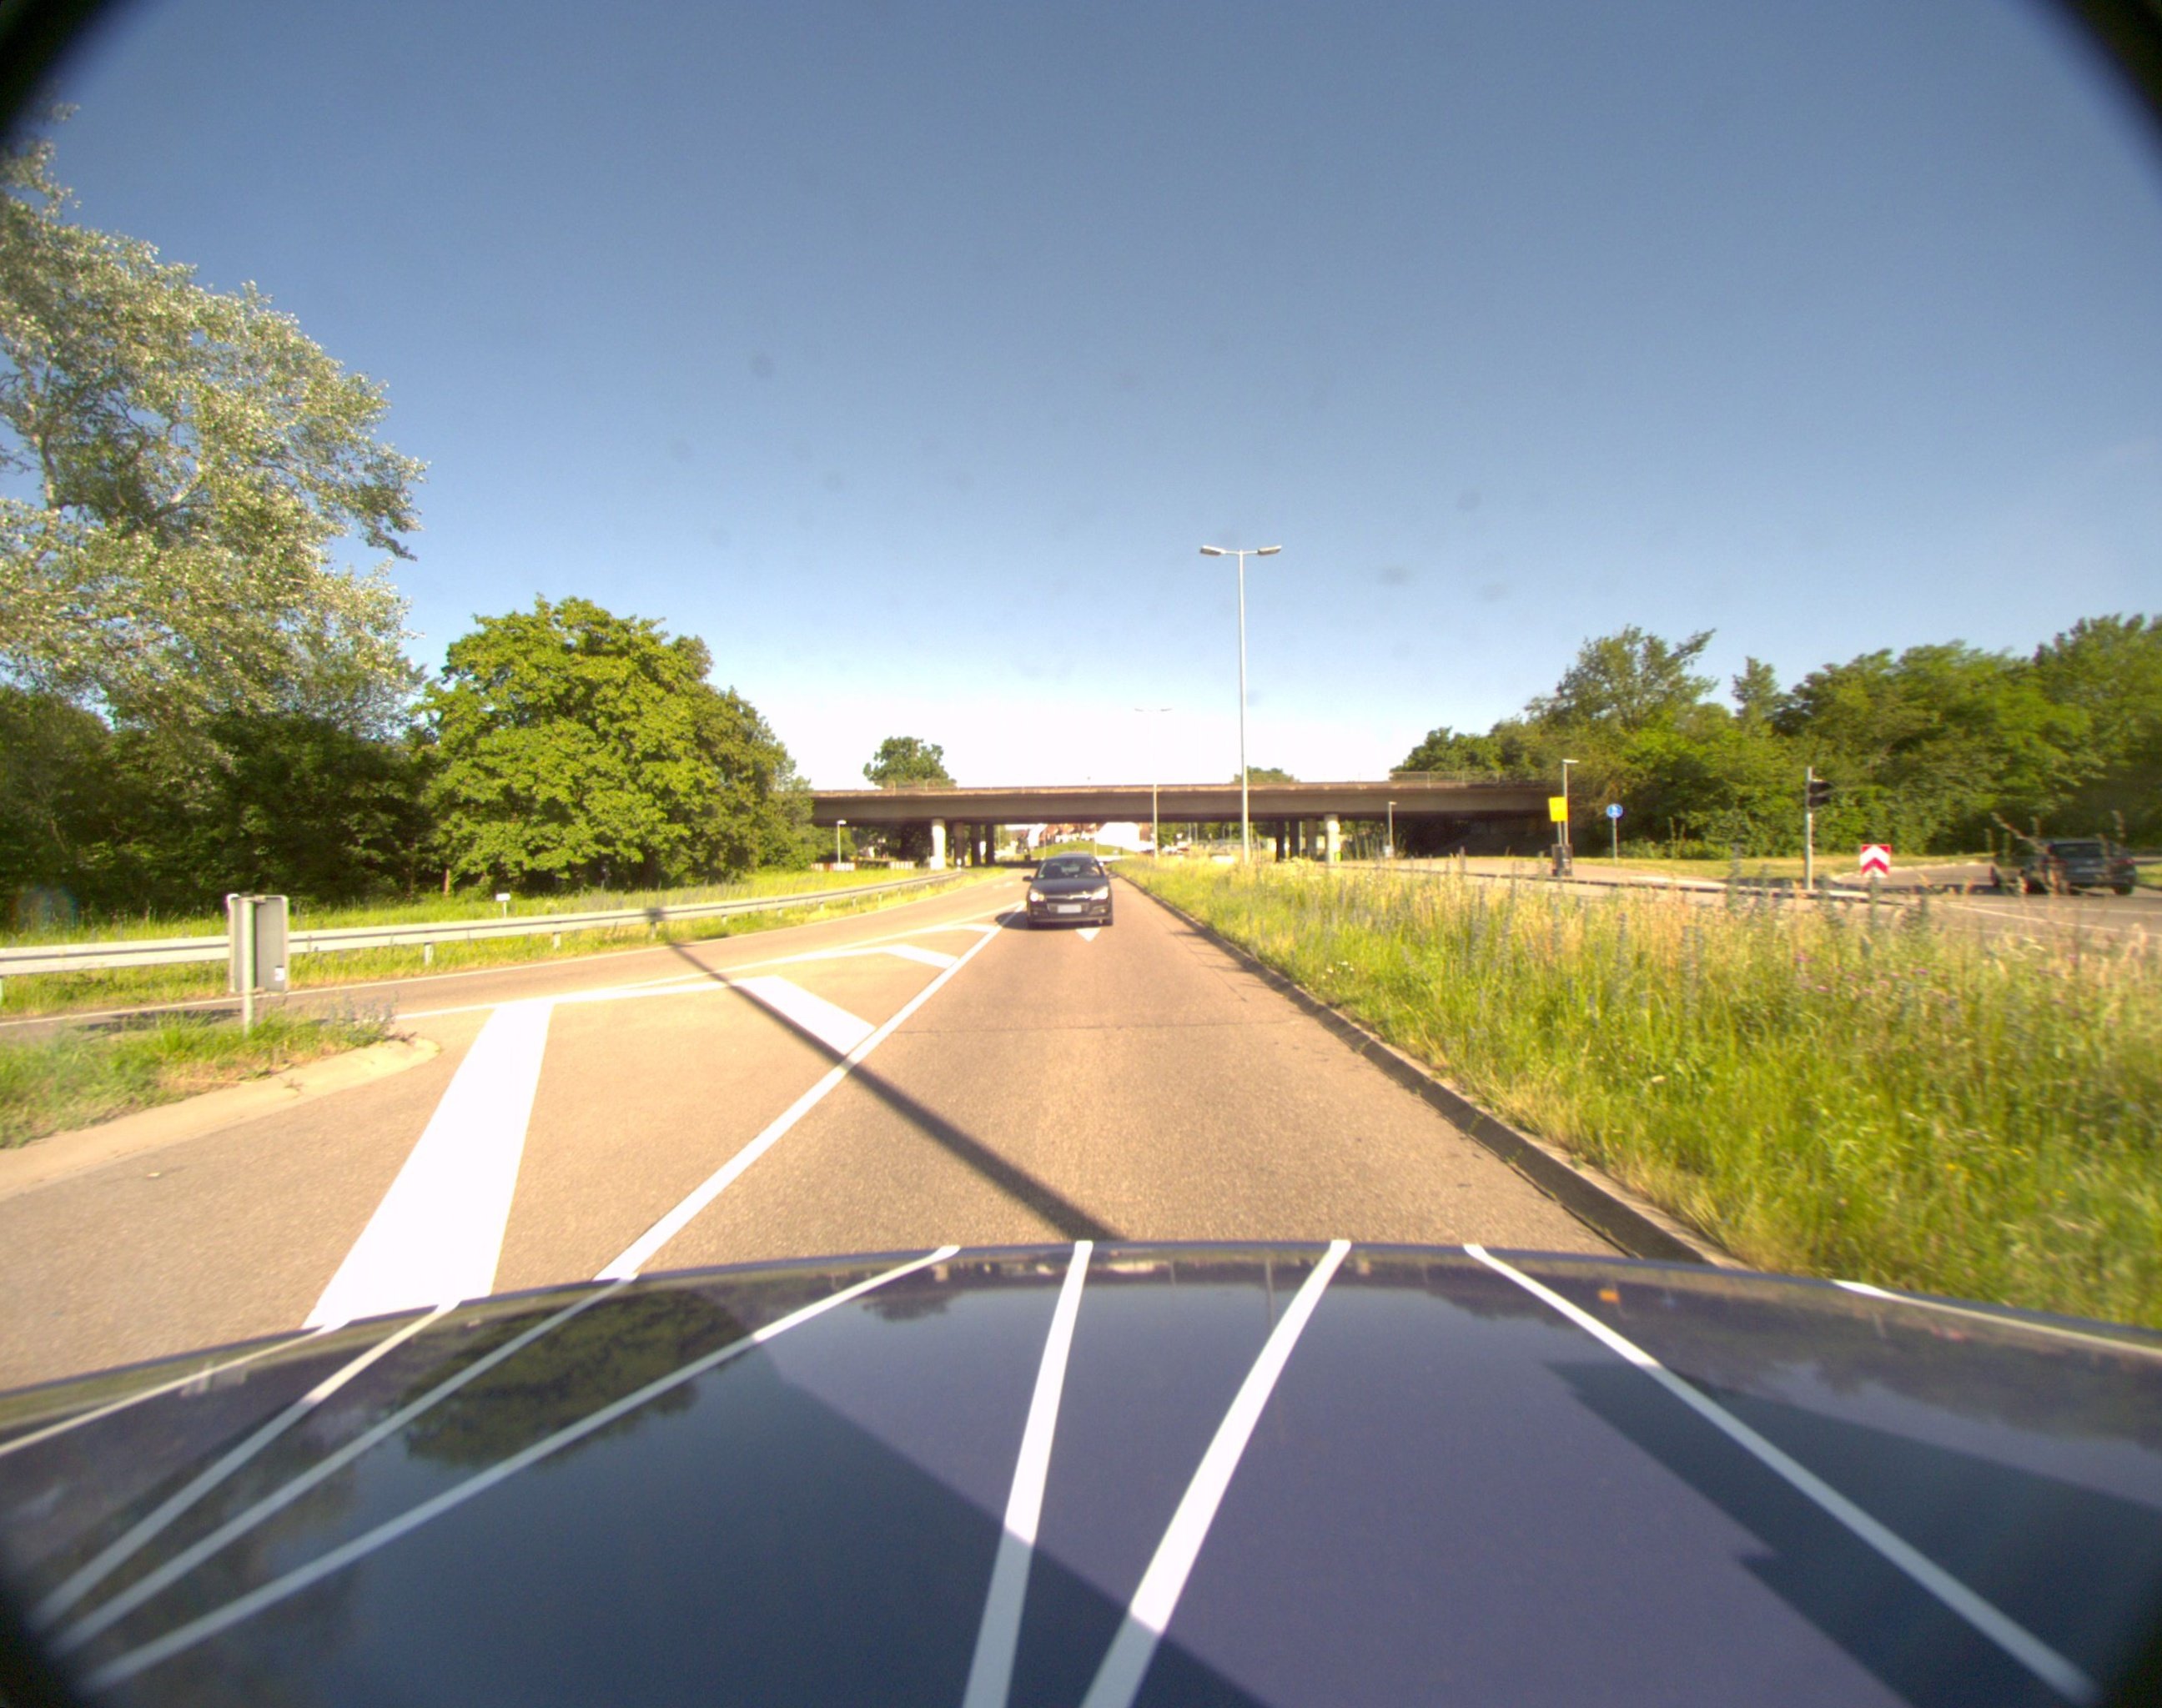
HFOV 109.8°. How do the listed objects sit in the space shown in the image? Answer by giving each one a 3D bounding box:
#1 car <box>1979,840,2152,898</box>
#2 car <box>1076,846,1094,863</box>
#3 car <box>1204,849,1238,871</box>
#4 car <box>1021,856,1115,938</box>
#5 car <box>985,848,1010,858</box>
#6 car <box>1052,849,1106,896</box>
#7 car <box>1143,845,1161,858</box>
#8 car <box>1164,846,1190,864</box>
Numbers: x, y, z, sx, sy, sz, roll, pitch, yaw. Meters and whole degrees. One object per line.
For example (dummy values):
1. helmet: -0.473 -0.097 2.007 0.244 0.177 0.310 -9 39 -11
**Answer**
1. car: 26.642 0.331 20.761 1.780 1.417 4.391 1 1 37
2. car: 0.419 0.030 76.500 1.827 1.528 4.042 -1 1 1
3. car: 9.683 0.359 52.851 1.636 1.436 4.103 -1 1 1
4. car: -0.217 0.809 16.275 1.707 1.447 3.959 -2 1 1
5. car: -13.653 -0.222 123.702 4.030 1.528 1.832 -1 1 43
6. car: -0.040 0.620 28.348 1.827 1.528 4.041 -2 1 1
7. car: 8.419 -0.269 90.631 1.637 1.521 3.591 -1 1 -3
8. car: 8.831 0.082 69.857 1.637 1.521 3.591 -1 1 -4
